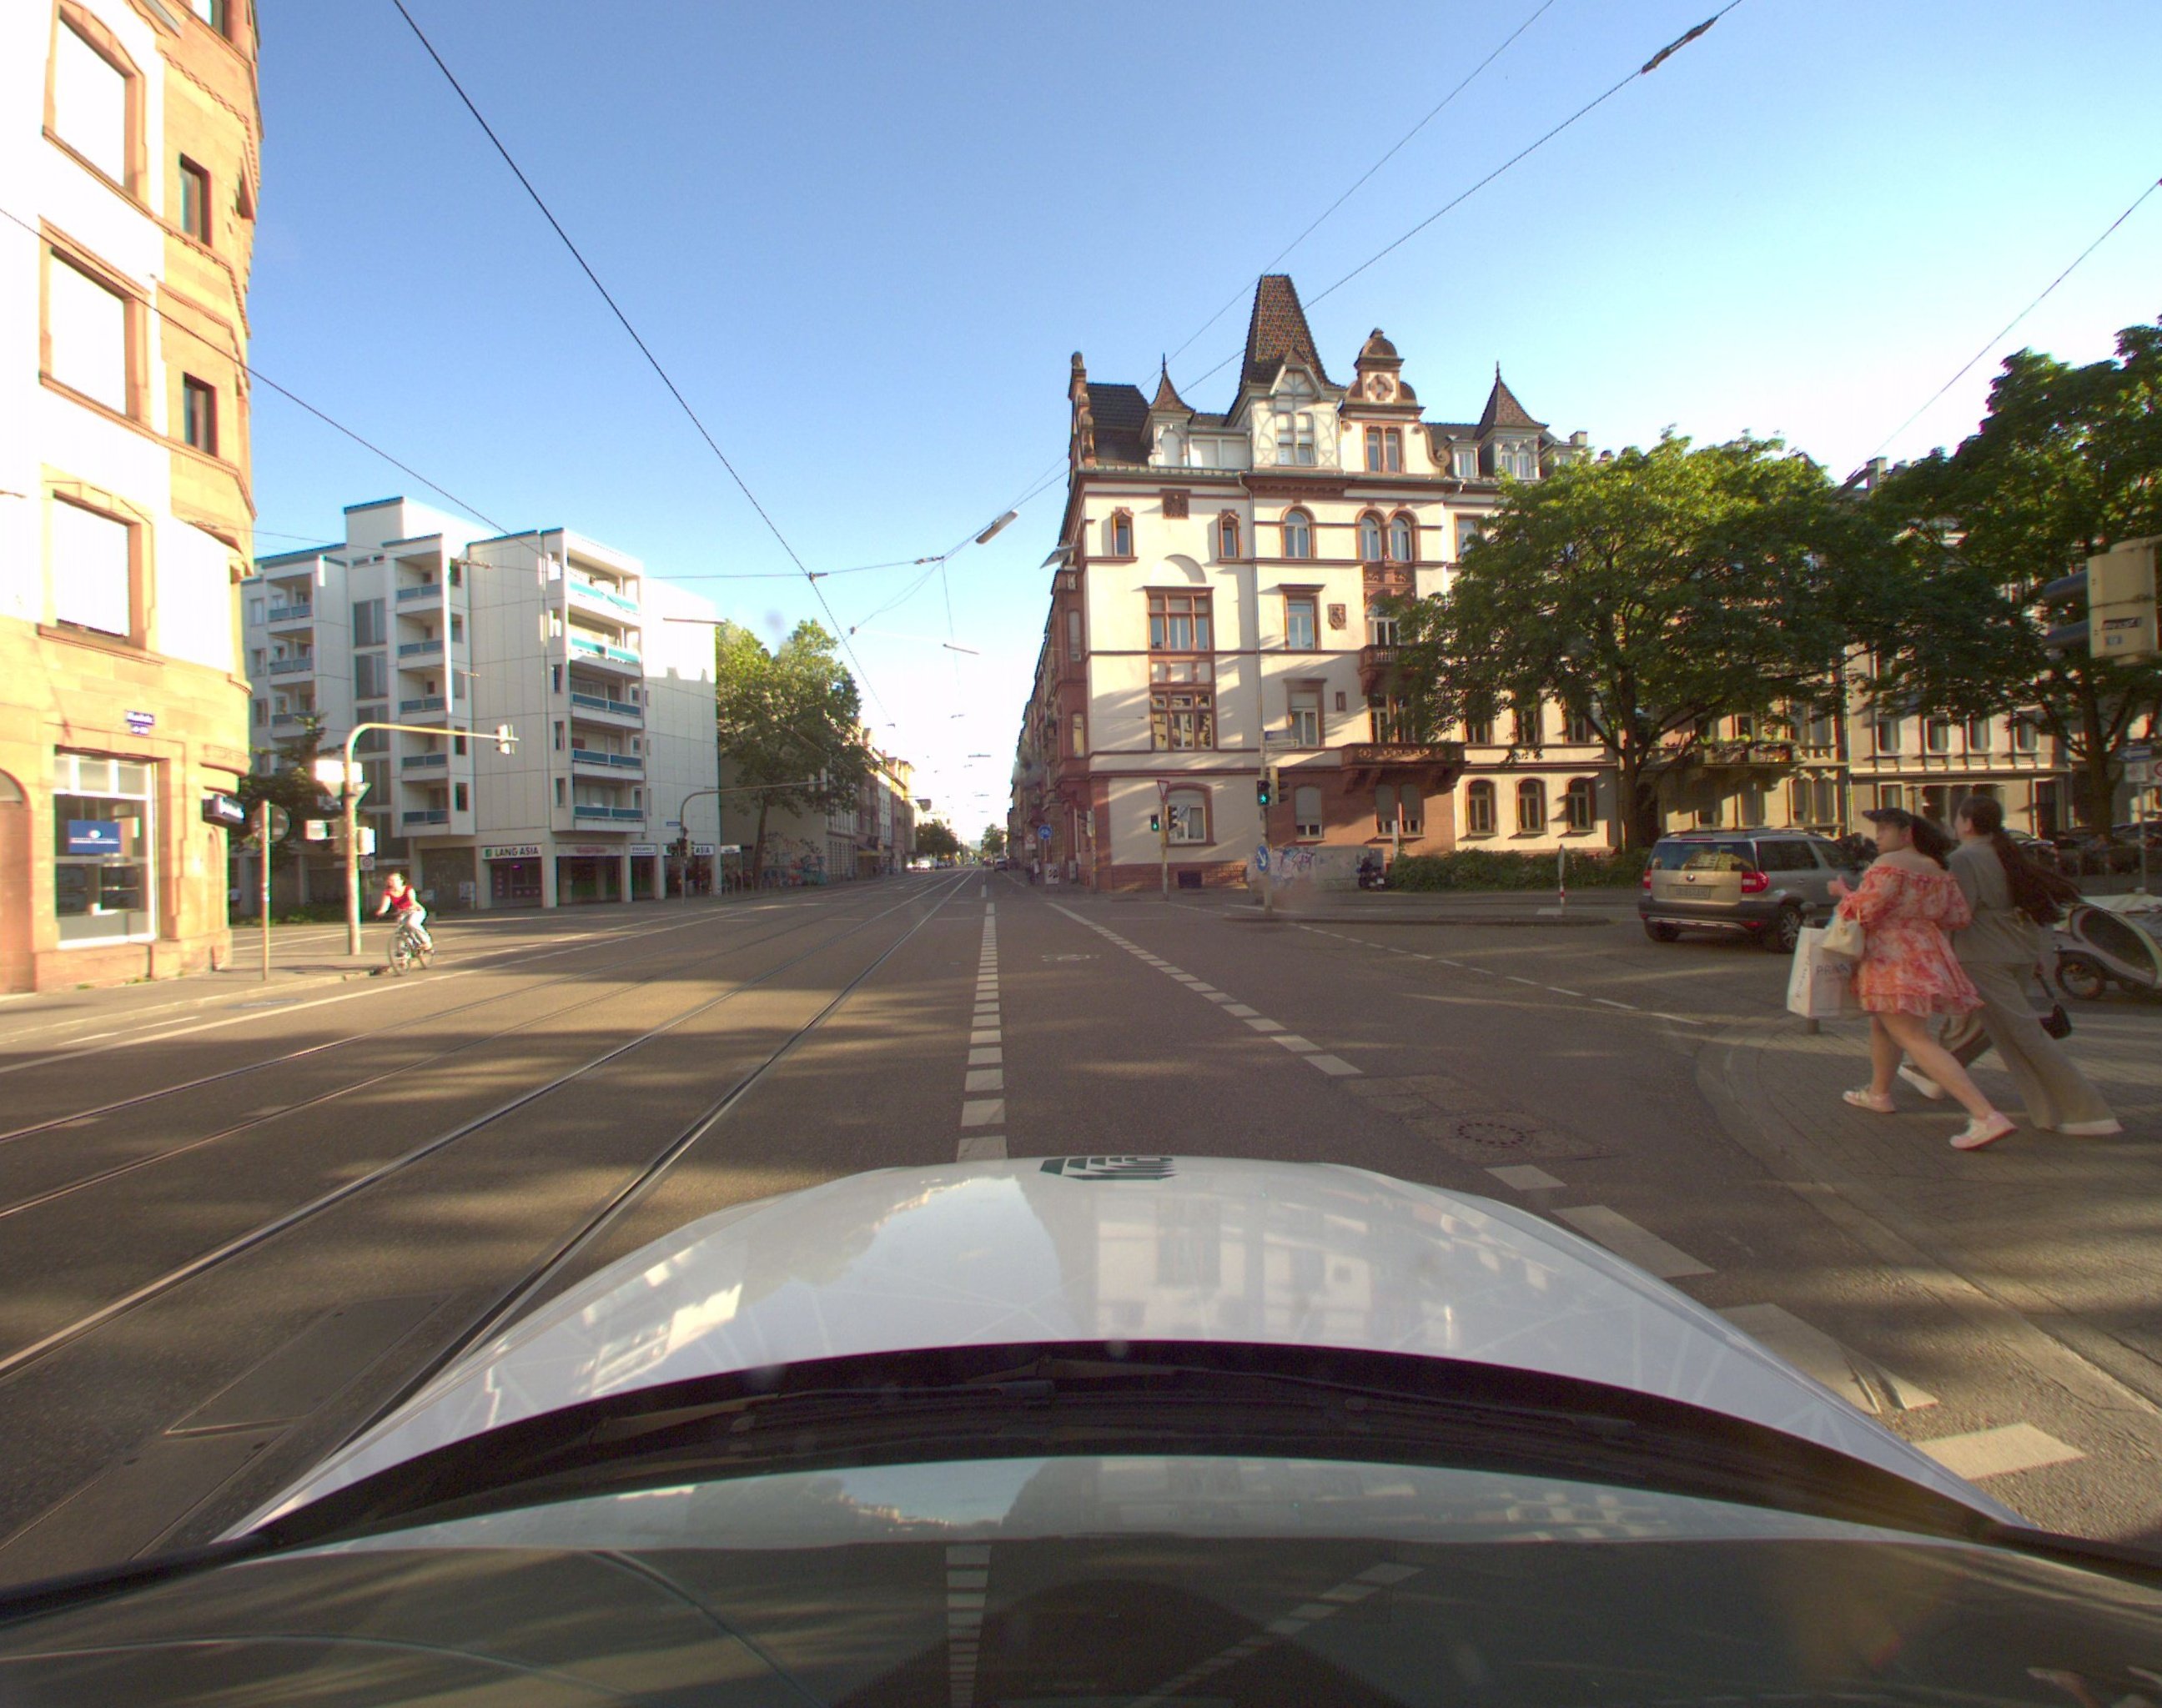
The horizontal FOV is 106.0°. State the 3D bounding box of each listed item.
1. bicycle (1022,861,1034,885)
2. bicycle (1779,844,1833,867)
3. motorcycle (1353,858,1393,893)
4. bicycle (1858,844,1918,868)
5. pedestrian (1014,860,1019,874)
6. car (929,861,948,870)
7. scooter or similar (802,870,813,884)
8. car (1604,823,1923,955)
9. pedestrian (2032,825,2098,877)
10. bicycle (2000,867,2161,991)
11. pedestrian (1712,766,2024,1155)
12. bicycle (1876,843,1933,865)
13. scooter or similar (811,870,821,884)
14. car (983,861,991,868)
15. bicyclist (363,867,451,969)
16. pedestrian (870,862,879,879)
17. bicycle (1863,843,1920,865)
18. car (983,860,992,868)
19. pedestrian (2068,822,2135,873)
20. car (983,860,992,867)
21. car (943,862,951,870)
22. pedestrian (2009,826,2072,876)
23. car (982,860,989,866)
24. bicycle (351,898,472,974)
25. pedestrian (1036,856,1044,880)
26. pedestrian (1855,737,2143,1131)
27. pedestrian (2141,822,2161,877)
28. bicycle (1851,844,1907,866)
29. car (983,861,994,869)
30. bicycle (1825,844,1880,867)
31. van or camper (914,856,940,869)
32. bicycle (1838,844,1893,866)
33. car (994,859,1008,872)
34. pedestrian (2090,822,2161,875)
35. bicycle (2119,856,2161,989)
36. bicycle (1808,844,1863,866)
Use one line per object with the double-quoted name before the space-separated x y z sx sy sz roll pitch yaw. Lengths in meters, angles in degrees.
"bicycle" -3.038 1.076 46.710 0.652 1.323 2.173 -2 0 -4
"bicycle" 29.915 0.078 33.645 0.491 0.893 1.795 -2 0 -4
"motorcycle" 9.965 0.720 27.845 0.716 1.020 2.290 -2 2 5
"bicycle" 32.627 0.080 32.936 1.781 0.893 0.494 -2 -1 8
"pedestrian" -8.477 1.719 107.320 0.544 1.780 0.748 -2 -1 -6
"car" -34.711 2.834 198.386 4.014 2.013 1.980 -2 -1 -32
"scooter or similar" -21.811 1.853 64.937 0.516 1.045 1.474 -2 0 -9
"car" 10.156 0.424 12.153 4.003 1.618 1.985 -2 0 -22
"pedestrian" 29.188 -0.094 24.179 0.903 1.428 0.770 -6 -2 27
"bicycle" 9.472 0.655 7.497 0.774 1.045 1.063 -2 -2 3
"pedestrian" 4.142 0.504 4.342 0.805 1.799 0.759 -6 1 -10
"bicycle" 34.851 0.001 34.508 0.491 0.893 1.795 -2 0 -4
"scooter or similar" -21.180 1.831 65.053 0.516 1.057 1.474 -2 0 -9
"car" -23.594 2.682 204.433 1.992 1.728 3.990 -1 -1 -7
"bicyclist" -11.482 1.063 13.909 0.701 1.643 0.988 -2 -1 -8
"pedestrian" -21.049 1.667 82.923 0.700 1.728 0.646 -2 -1 -7
"bicycle" 34.203 0.017 34.406 0.491 0.893 1.795 -2 0 -4
"car" -22.073 2.364 191.397 1.992 1.728 3.990 -1 -1 -7
"pedestrian" 30.718 -0.190 24.536 0.904 1.428 0.770 -6 -2 26
"car" -22.556 2.347 196.396 1.992 1.728 3.990 -1 -1 -7
"car" -36.986 3.295 225.024 1.992 2.013 3.990 -2 0 -7
"pedestrian" 29.603 -0.091 25.138 0.904 1.428 0.770 -6 -2 26
"car" -27.692 2.583 235.996 1.992 1.728 3.990 -1 -1 -7
"bicycle" -11.498 1.377 14.084 0.696 1.109 1.893 -2 0 -8
"pedestrian" -3.031 1.040 60.466 0.544 1.780 0.503 -2 -1 -6
"pedestrian" 4.904 0.384 4.390 0.692 1.909 0.667 -4 -2 -15
"pedestrian" 29.086 -0.153 21.547 0.904 1.428 0.770 -6 -2 26
"bicycle" 33.670 0.032 34.373 0.491 0.893 1.795 -2 0 -4
"car" -18.997 2.290 167.267 1.992 1.728 3.990 -1 -1 -7
"bicycle" 32.336 0.068 34.174 0.491 0.893 1.795 -2 0 -4
"van or camper" -30.945 1.693 163.397 4.672 2.563 1.977 -1 -1 -38
"bicycle" 33.003 0.049 34.282 0.491 0.893 1.795 -2 0 -4
"car" -11.320 1.585 115.395 1.947 1.684 3.992 -2 0 -6
"pedestrian" 30.144 -0.154 23.521 0.903 1.428 0.770 -6 -2 27
"bicycle" 10.244 0.602 6.826 0.503 1.223 1.918 -2 -2 -2
"bicycle" 31.402 0.041 33.917 0.491 0.893 1.795 -2 0 -4
